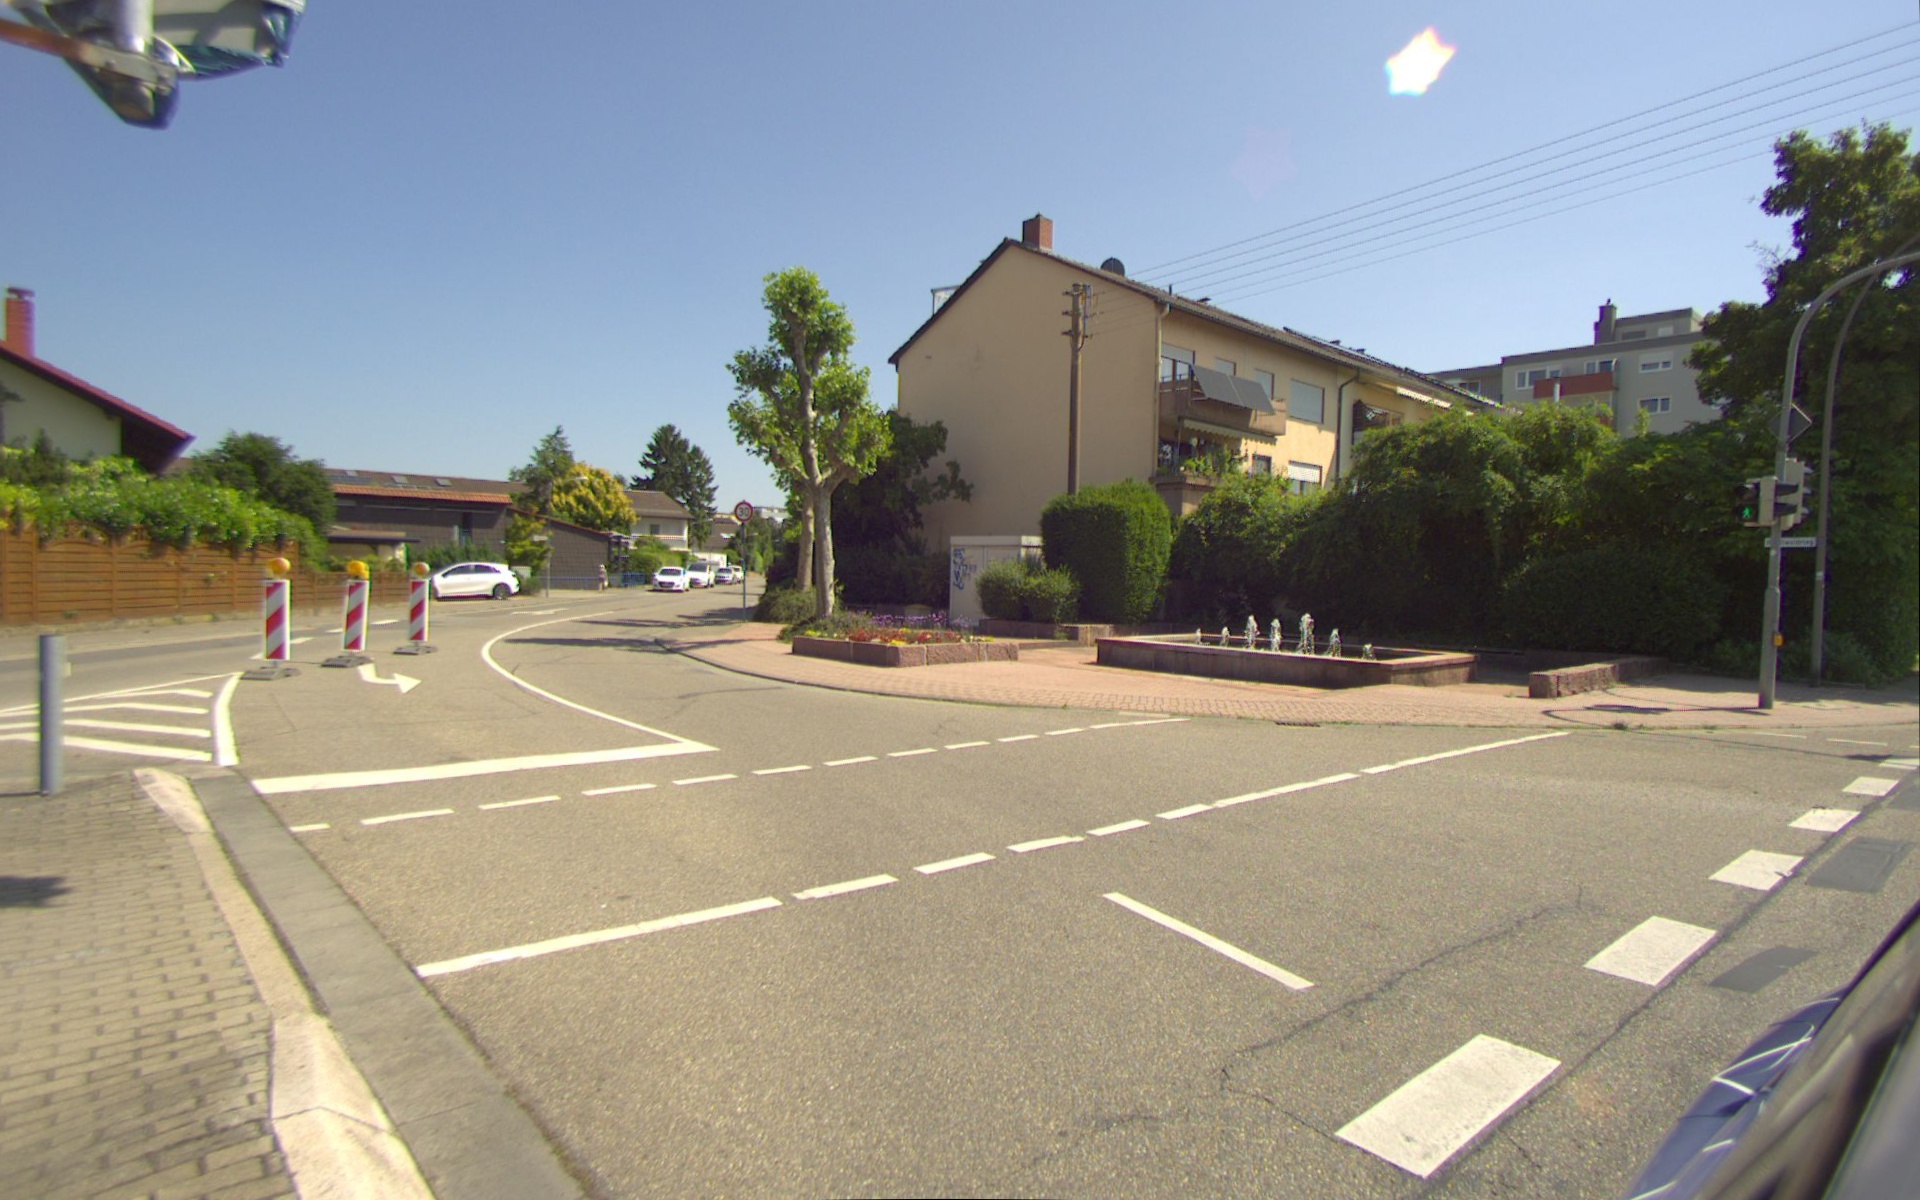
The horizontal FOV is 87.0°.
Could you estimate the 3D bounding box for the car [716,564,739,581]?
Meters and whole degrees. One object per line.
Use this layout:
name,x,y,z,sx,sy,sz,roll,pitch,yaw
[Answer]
car,-20.792,-2.502,90.614,1.958,1.437,4.009,1,2,-12

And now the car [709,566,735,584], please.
car,-19.813,-2.091,84.397,1.958,1.437,4.009,1,2,-12

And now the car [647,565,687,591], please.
car,-17.319,-1.335,60.056,1.958,1.437,4.009,1,2,-12

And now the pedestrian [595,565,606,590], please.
pedestrian,-18.894,-1.189,53.152,0.531,1.331,0.432,1,1,-17

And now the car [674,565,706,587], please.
car,-18.954,-1.725,71.150,1.958,1.437,4.009,1,2,-12

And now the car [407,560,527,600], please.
car,-18.842,-0.769,38.774,3.914,1.449,1.422,0,2,-41
